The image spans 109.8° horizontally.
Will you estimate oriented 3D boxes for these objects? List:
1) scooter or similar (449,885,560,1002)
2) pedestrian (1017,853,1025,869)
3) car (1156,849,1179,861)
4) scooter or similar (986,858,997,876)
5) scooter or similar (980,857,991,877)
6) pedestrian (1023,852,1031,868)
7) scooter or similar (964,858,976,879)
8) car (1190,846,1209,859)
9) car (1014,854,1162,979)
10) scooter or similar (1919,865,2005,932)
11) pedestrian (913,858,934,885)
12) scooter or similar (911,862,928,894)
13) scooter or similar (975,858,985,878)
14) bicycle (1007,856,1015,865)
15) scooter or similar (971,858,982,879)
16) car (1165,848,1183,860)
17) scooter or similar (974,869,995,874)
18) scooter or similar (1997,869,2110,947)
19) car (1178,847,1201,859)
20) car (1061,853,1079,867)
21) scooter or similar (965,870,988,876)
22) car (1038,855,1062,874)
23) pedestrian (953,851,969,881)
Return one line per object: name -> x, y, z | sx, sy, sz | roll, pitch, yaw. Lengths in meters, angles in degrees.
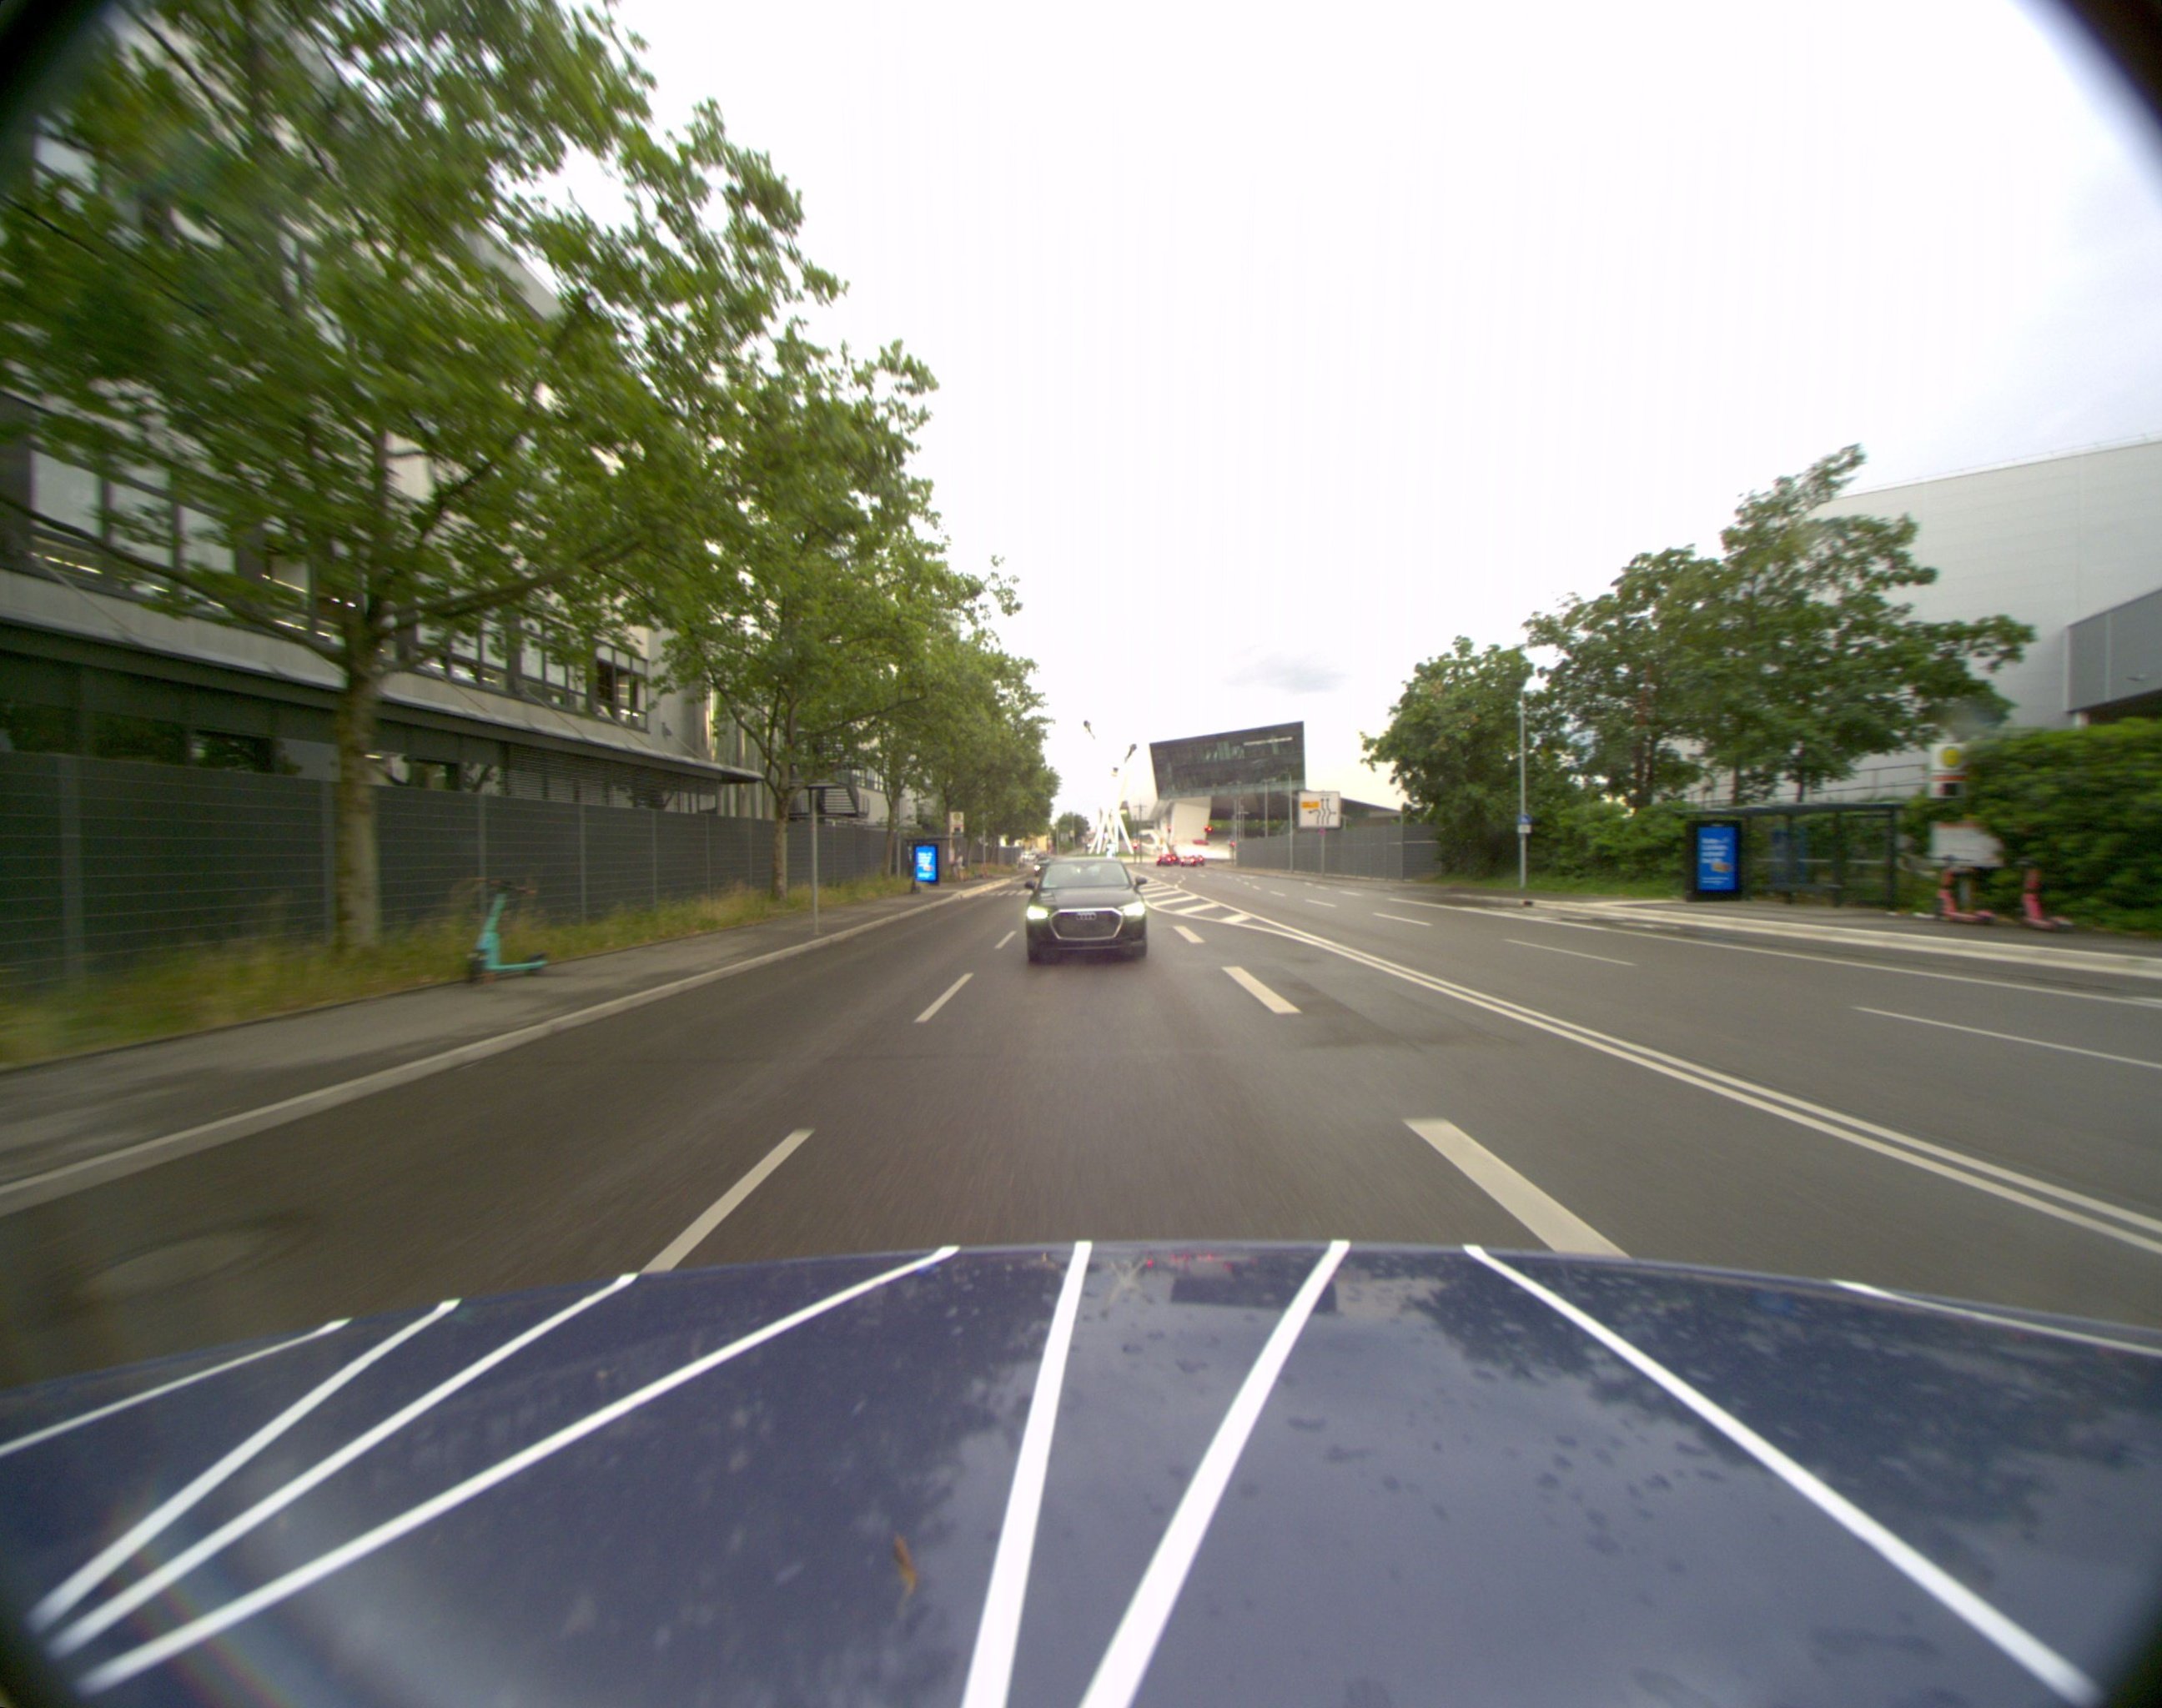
scooter or similar -> -6.890, 1.037, 9.133 | 0.329, 1.262, 1.109 | 0, 1, 9
pedestrian -> -6.072, 0.678, 77.325 | 0.723, 1.610, 0.833 | 2, 1, 0
car -> 11.232, 0.151, 98.542 | 2.255, 1.469, 3.884 | 0, 1, 18
scooter or similar -> -6.505, 0.913, 55.402 | 0.437, 1.278, 1.301 | 0, 1, 8
scooter or similar -> -6.489, 0.874, 51.724 | 0.437, 1.288, 1.368 | 0, 1, 8
pedestrian -> -5.678, 0.654, 79.991 | 0.723, 1.657, 0.833 | 2, 1, 0
scooter or similar -> -6.725, 0.873, 46.213 | 0.437, 1.288, 1.301 | -1, 1, 4
car -> 16.215, -0.191, 103.470 | 1.861, 1.641, 3.793 | 0, 0, 20
car -> 0.065, 0.846, 12.894 | 1.951, 1.609, 5.276 | -2, 0, -1
scooter or similar -> 16.422, 0.805, 14.198 | 0.389, 1.173, 1.251 | 0, 1, 14
pedestrian -> -8.268, 0.926, 39.915 | 0.932, 1.408, 0.698 | -1, 1, 0
scooter or similar -> -6.652, 0.978, 31.381 | 0.329, 1.301, 1.246 | -1, 1, 5
scooter or similar -> -6.615, 0.884, 49.821 | 0.437, 1.288, 1.301 | -1, 1, 4
bicycle -> -7.730, 0.698, 84.175 | 0.727, 0.870, 1.904 | -2, 1, 0
scooter or similar -> -6.539, 0.891, 47.630 | 0.437, 1.288, 1.301 | -1, 1, 4
car -> 12.875, -0.022, 104.843 | 1.878, 1.641, 3.857 | 0, 0, 17
scooter or similar -> -7.220, 1.310, 56.798 | 1.184, 0.309, 1.200 | -1, 1, -28
scooter or similar -> 16.097, 0.862, 12.615 | 0.379, 1.174, 1.379 | 0, 1, 14
car -> 13.814, -0.168, 96.652 | 2.267, 1.469, 4.052 | 0, 1, 18
car -> -1.230, 0.598, 82.836 | 1.842, 1.444, 4.785 | -2, 0, -1
scooter or similar -> -7.460, 1.350, 54.096 | 1.098, 0.343, 1.260 | 0, 1, 24
car -> -2.489, 0.817, 60.826 | 1.881, 1.485, 4.075 | 0, 0, -3
pedestrian -> -6.898, 0.673, 43.760 | 0.778, 1.700, 0.729 | -1, 1, 0
